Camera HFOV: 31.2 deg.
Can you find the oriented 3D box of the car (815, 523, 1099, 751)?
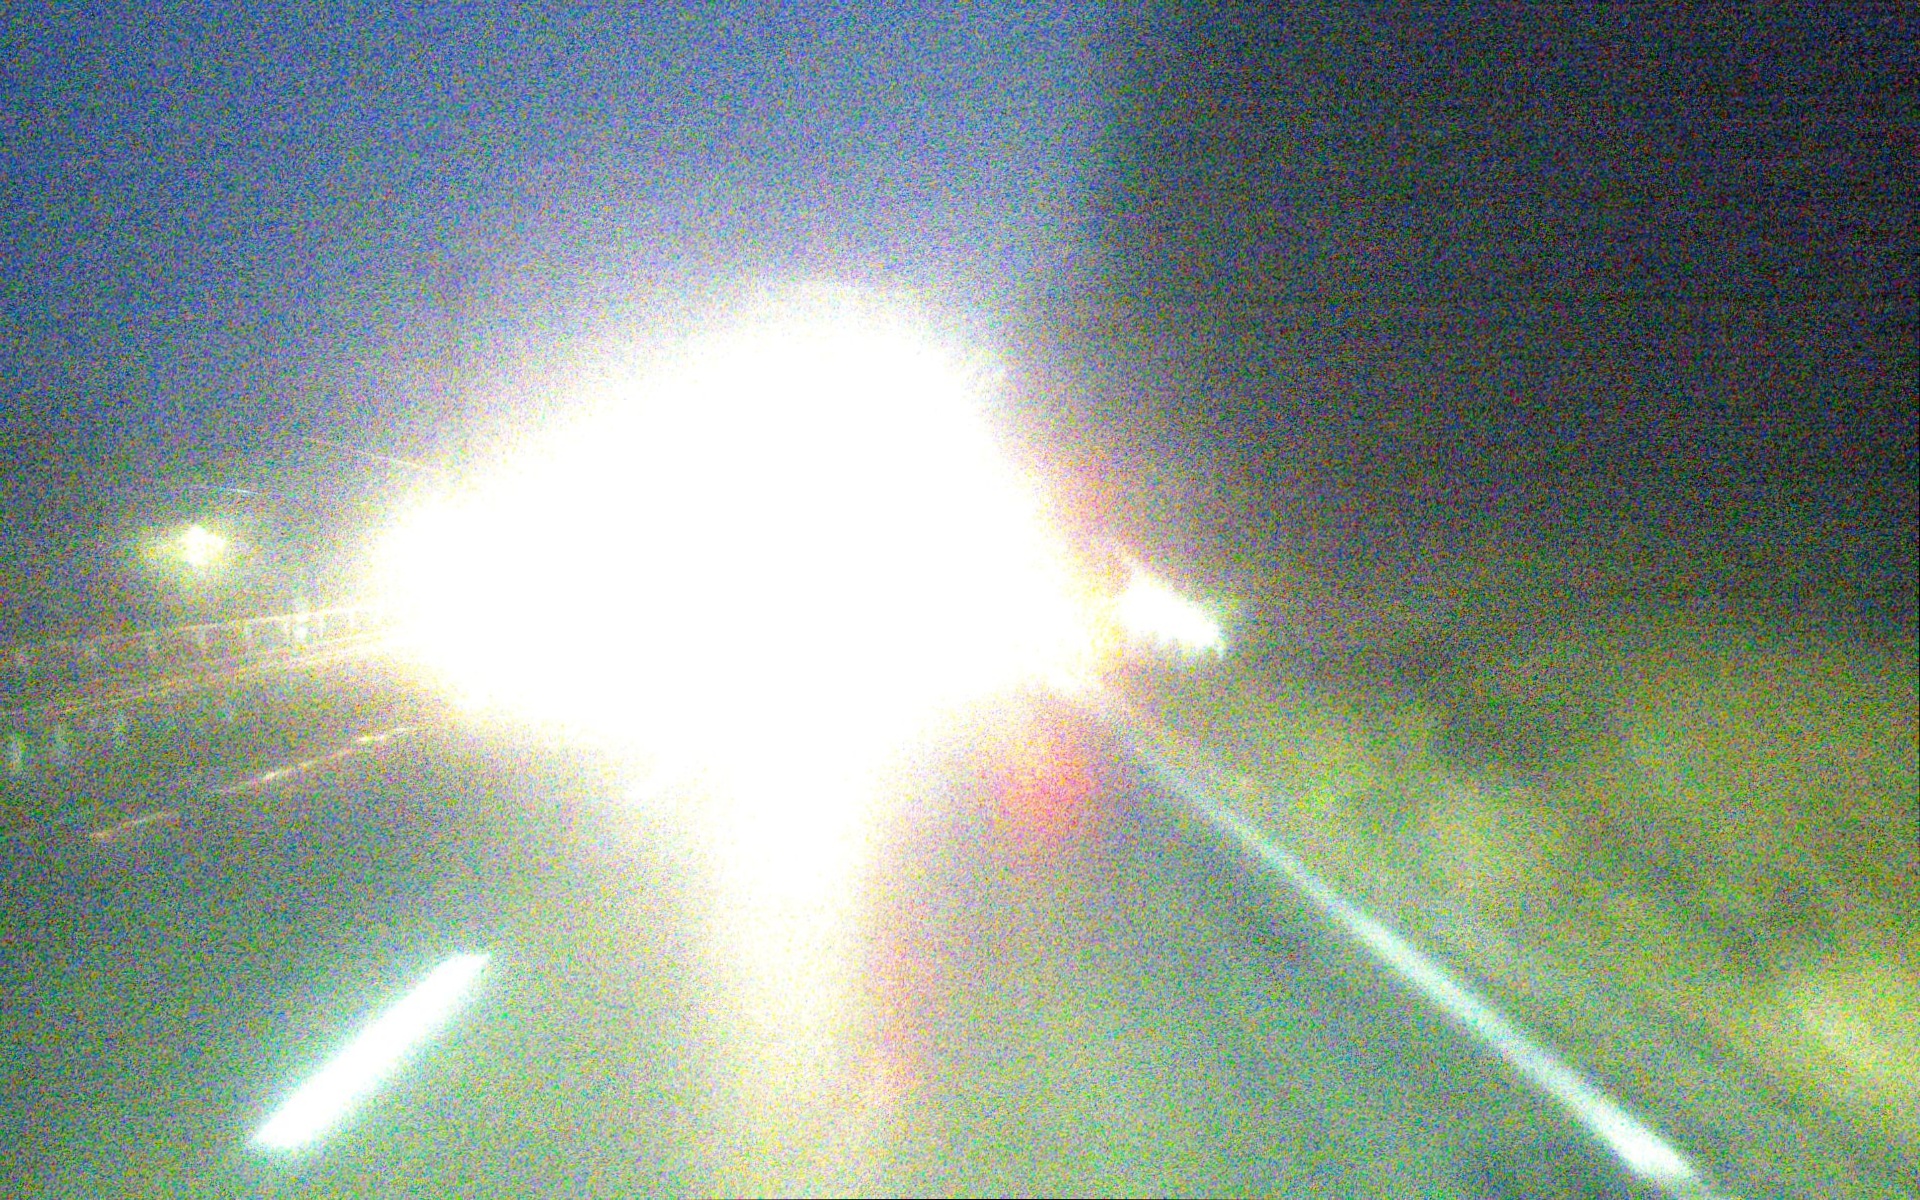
[{"bbox_3d":[-0.026,0.362,33.054,2.458,1.952,4.911,-2,-1,0],"label":"car"}]
